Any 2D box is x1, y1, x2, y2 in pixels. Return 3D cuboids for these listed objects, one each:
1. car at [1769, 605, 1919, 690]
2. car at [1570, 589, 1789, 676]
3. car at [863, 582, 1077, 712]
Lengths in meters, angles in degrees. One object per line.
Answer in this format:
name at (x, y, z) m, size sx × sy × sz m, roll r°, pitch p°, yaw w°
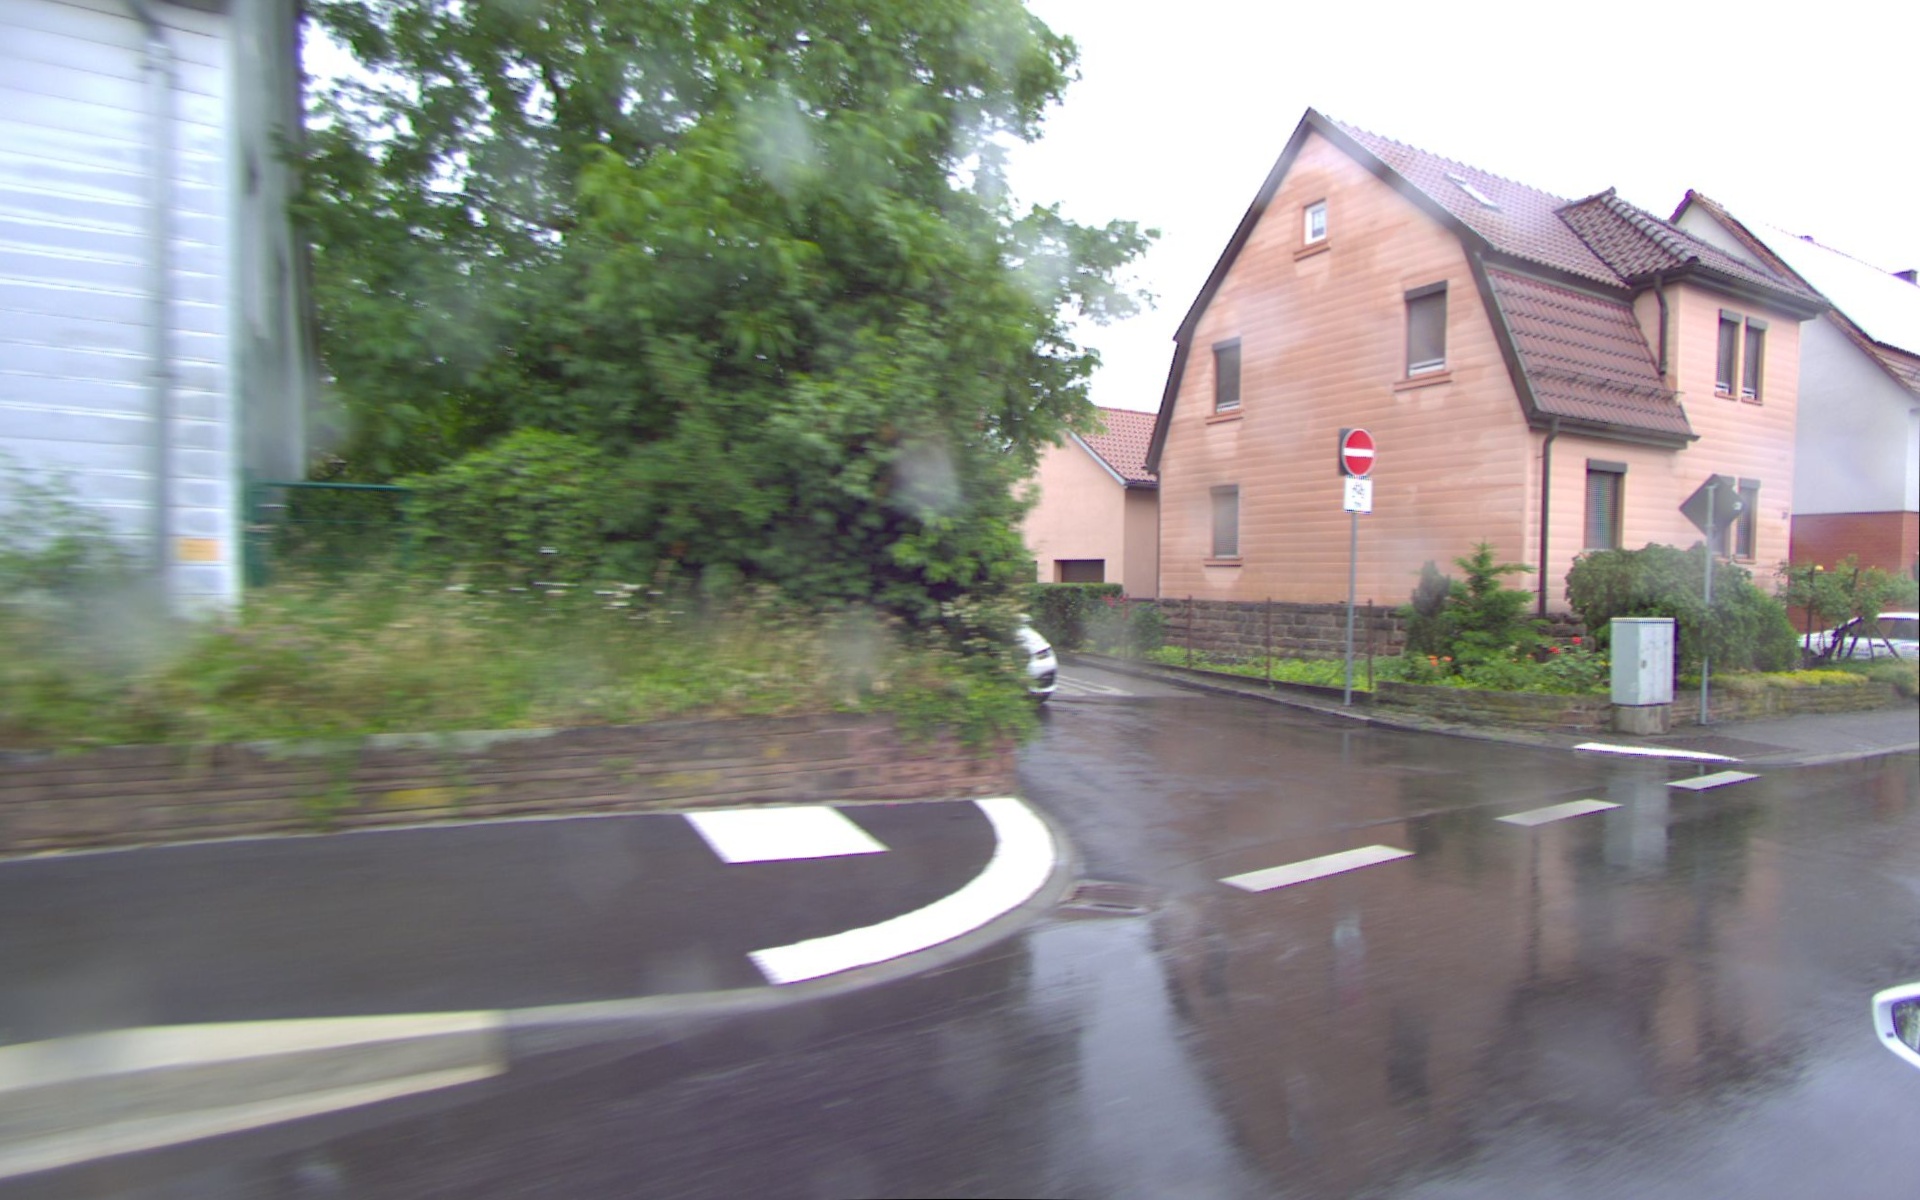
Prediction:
car at (19.332, 0.989, 20.859) m, size 1.643 × 1.550 × 3.528 m, roll 1°, pitch 2°, yaw -29°
car at (17.589, 0.726, 24.745) m, size 1.738 × 1.787 × 3.966 m, roll 1°, pitch 2°, yaw -31°
car at (-0.049, 0.522, 13.745) m, size 1.689 × 1.438 × 4.224 m, roll 1°, pitch 1°, yaw -17°
